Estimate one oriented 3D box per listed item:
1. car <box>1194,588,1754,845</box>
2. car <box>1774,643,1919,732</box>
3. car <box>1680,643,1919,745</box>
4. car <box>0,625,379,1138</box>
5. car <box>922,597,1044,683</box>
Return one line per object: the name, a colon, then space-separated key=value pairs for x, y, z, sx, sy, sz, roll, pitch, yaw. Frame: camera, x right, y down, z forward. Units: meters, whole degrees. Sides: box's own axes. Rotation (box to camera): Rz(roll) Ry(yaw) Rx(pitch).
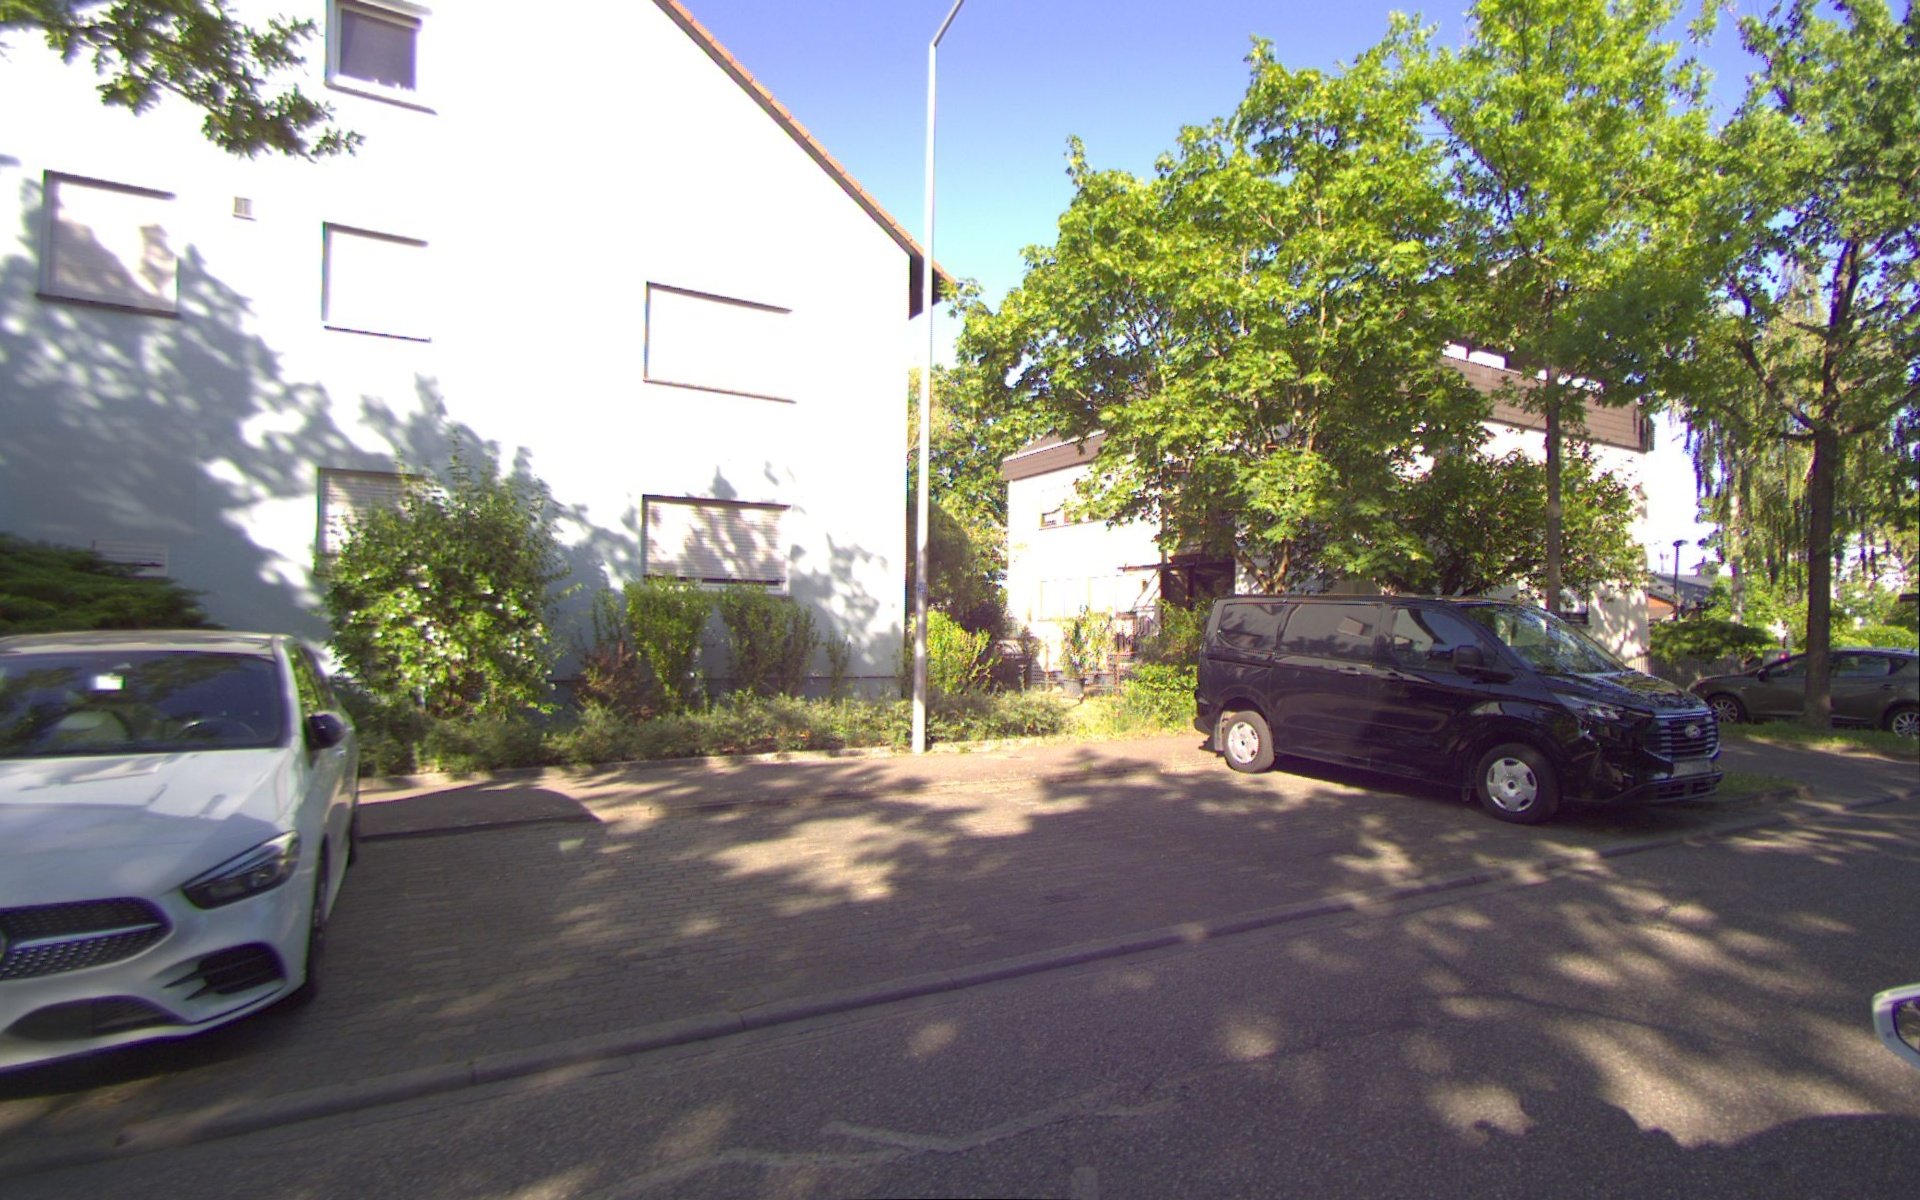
car: x=4.791 y=0.923 z=10.192 sx=1.995 sy=1.942 sz=4.755 roll=1 pitch=-1 yaw=-30
car: x=17.265 y=1.564 z=17.988 sx=1.692 sy=1.478 sz=3.841 roll=1 pitch=-1 yaw=-28
car: x=14.568 y=1.495 z=16.763 sx=1.752 sy=1.438 sz=3.800 roll=2 pitch=-1 yaw=-30
car: x=-3.986 y=0.924 z=4.979 sx=1.747 sy=1.497 sz=4.258 roll=1 pitch=-1 yaw=-28
car: x=0.612 y=1.246 z=31.058 sx=2.001 sy=2.457 sz=4.361 roll=2 pitch=-3 yaw=-25
